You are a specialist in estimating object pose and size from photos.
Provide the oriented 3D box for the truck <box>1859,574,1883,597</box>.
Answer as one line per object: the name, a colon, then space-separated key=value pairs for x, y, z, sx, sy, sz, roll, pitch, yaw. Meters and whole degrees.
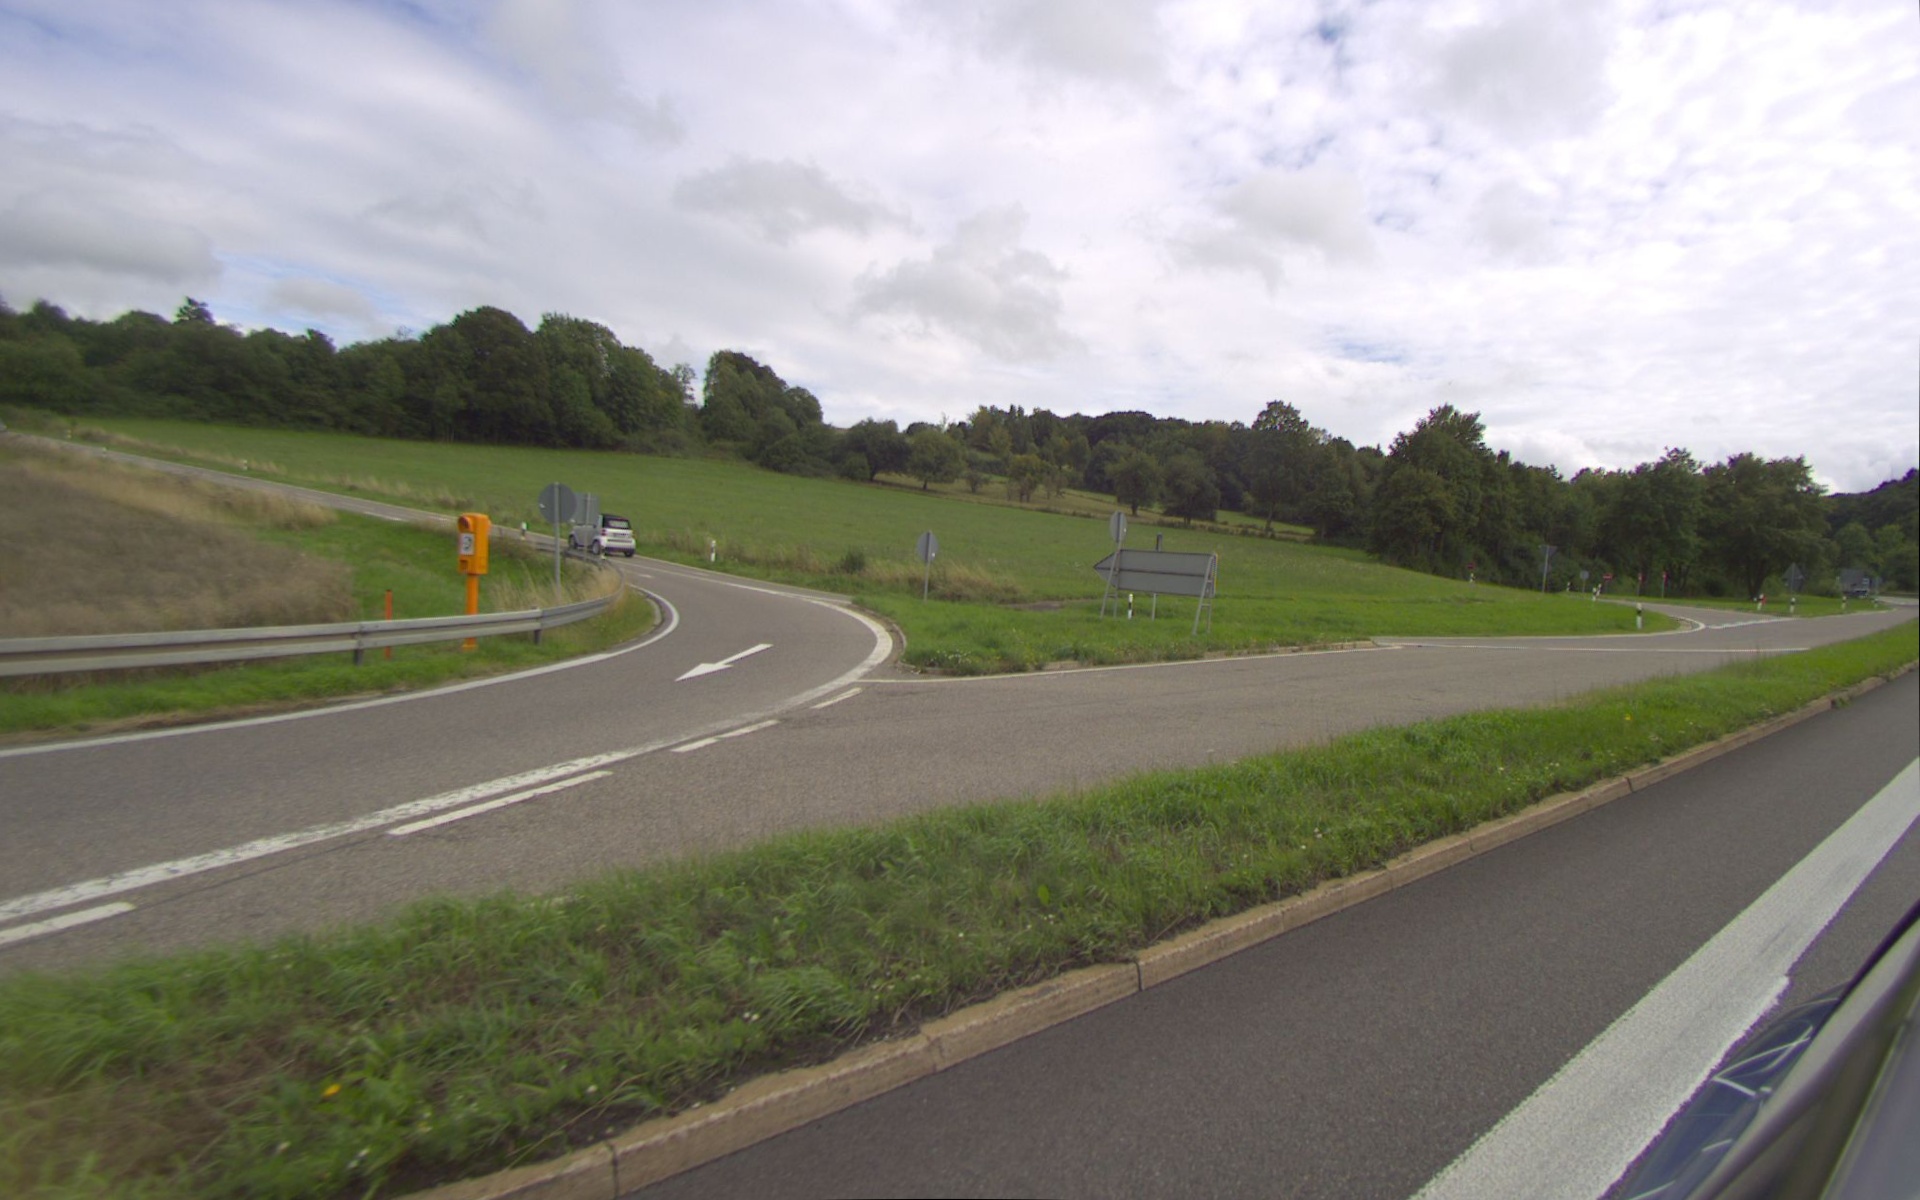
truck: x=166.493 y=-2.650 z=184.958 sx=2.783 sy=4.020 sz=5.860 roll=2 pitch=3 yaw=38

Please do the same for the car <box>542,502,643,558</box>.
car: x=-14.375 y=-2.731 z=39.496 sx=3.985 sy=1.569 sz=1.759 roll=12 pitch=6 yaw=37
